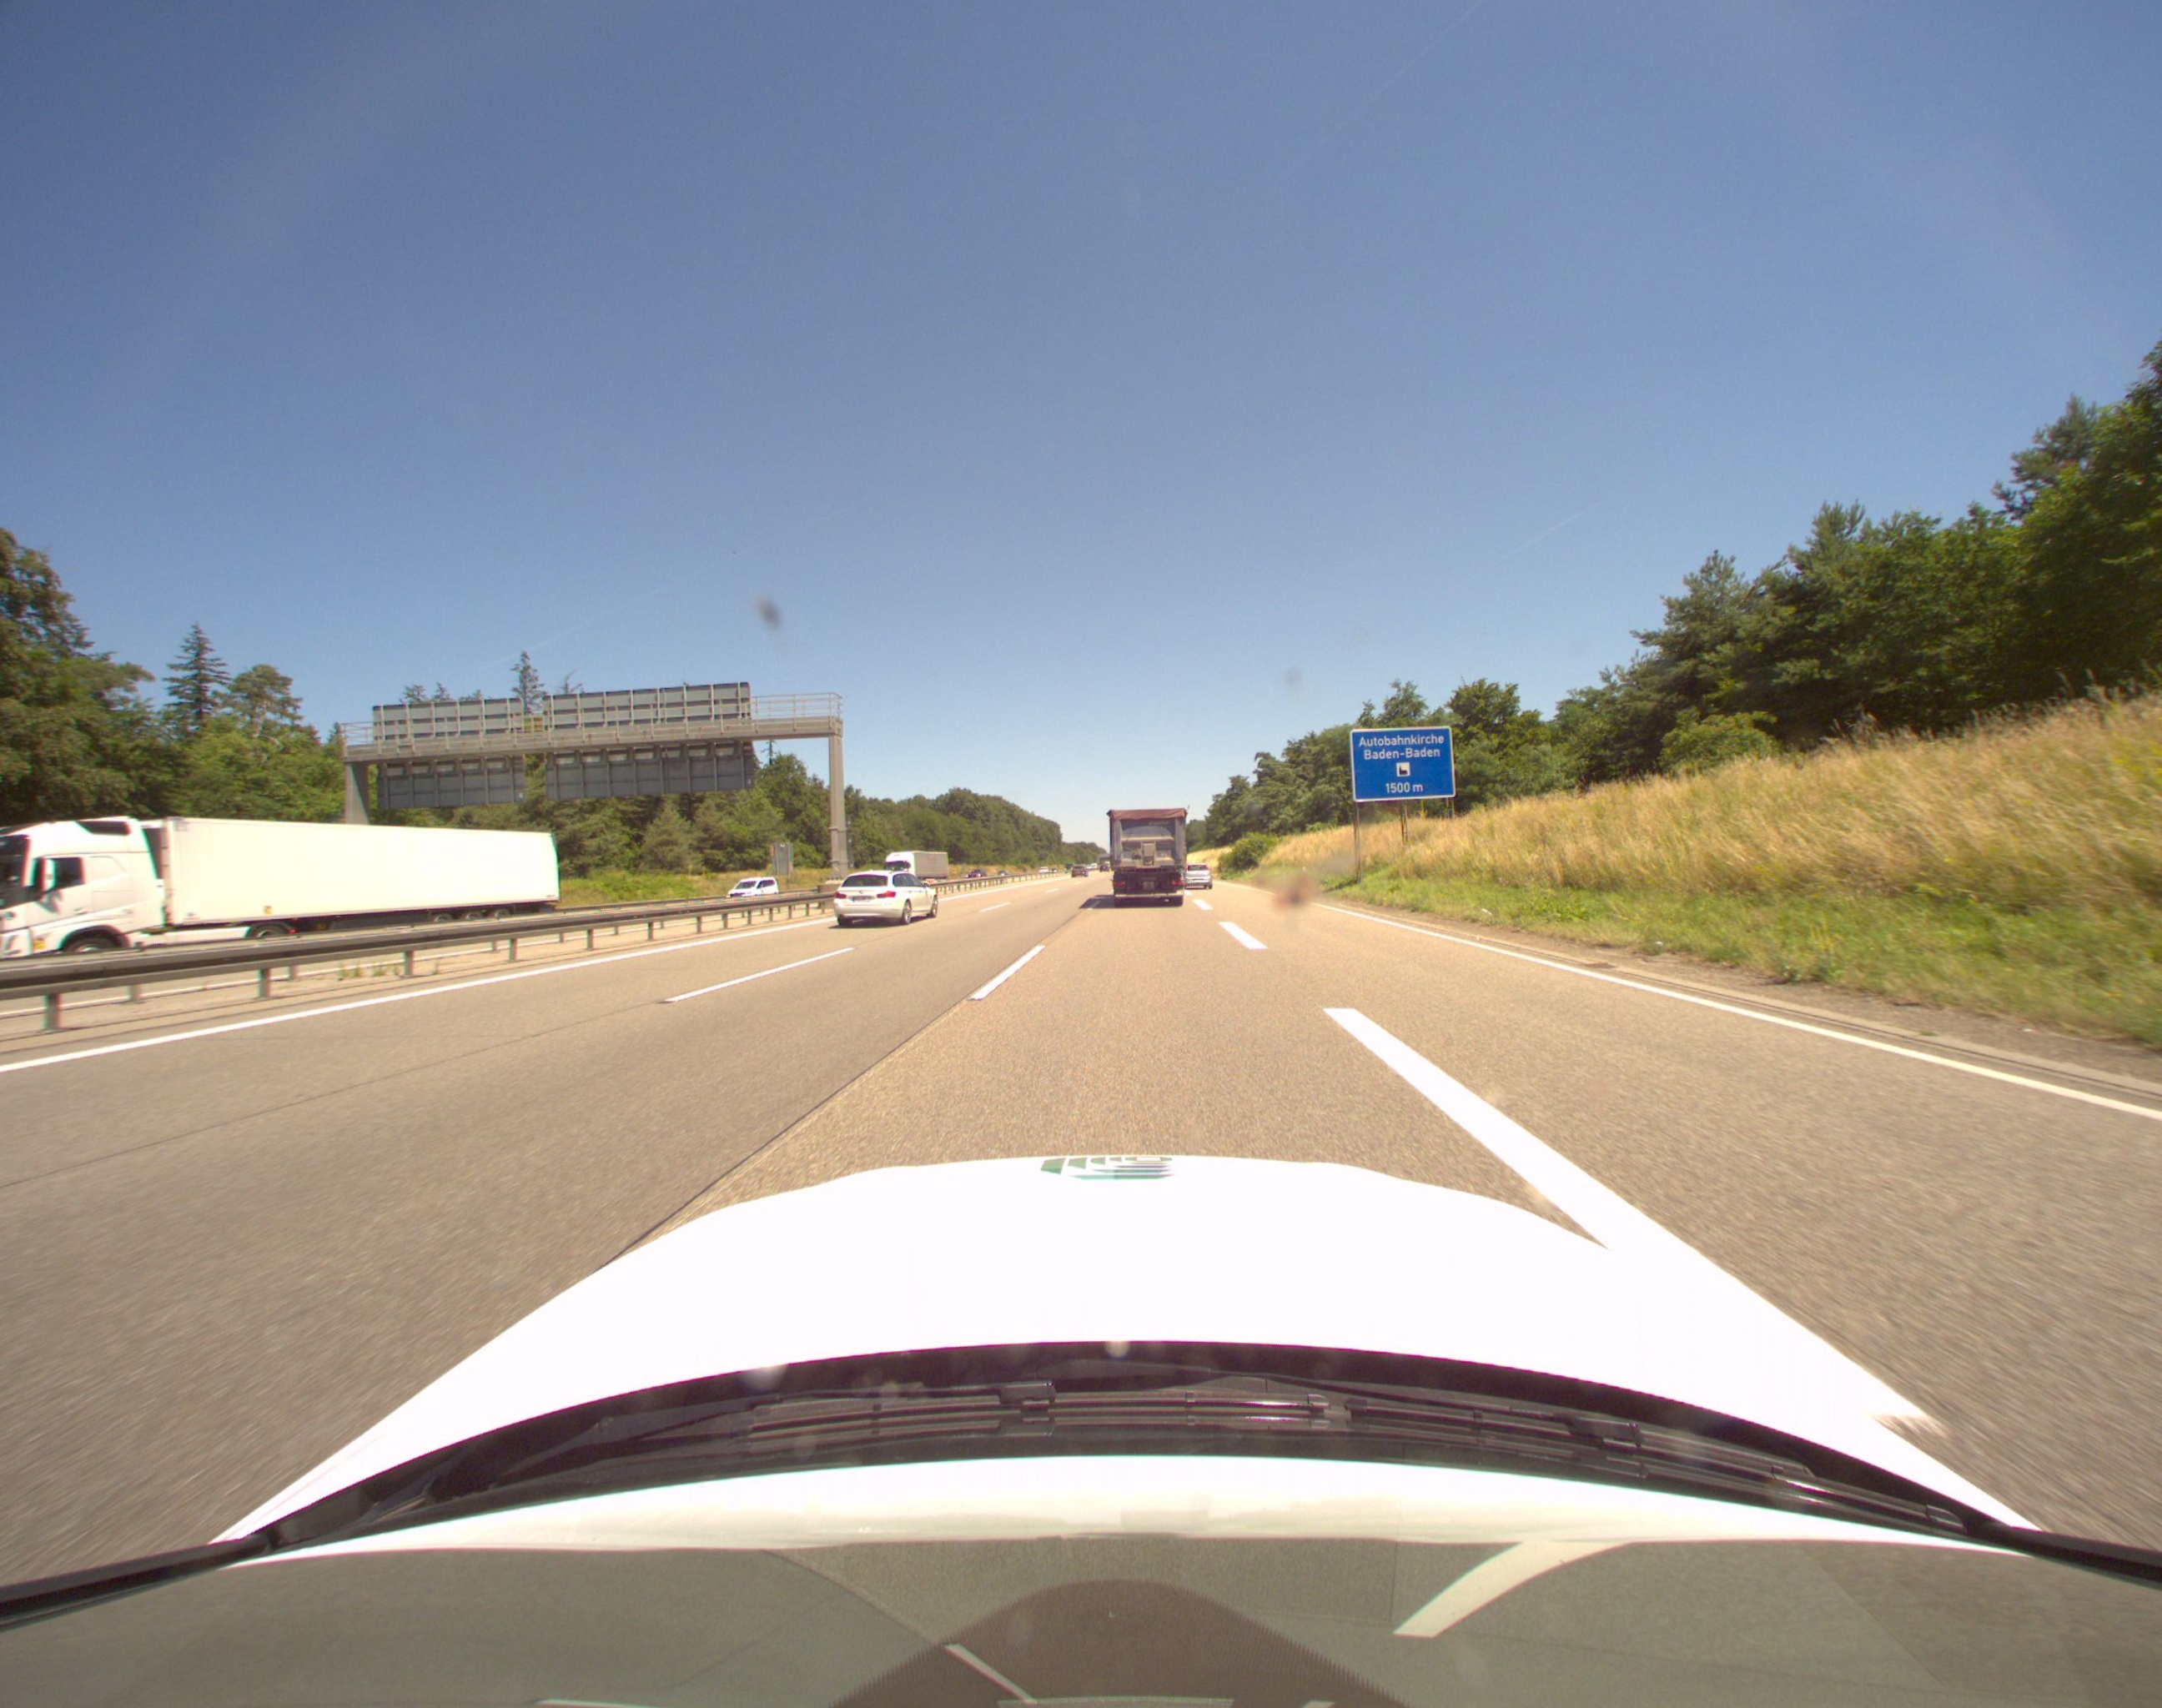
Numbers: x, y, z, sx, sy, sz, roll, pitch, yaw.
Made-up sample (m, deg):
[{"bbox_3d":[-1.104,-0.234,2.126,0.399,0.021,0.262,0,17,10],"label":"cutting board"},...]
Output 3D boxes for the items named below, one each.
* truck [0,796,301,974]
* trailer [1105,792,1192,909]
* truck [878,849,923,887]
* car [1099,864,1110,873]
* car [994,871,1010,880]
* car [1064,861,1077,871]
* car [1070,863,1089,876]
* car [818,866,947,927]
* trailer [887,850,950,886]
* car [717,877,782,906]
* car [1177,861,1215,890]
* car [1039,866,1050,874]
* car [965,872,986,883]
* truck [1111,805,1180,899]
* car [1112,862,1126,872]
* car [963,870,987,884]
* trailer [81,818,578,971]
[{"bbox_3d":[-25.481,0.777,21.621,3.198,4.018,6.226,-2,-1,6],"label":"truck"},{"bbox_3d":[2.515,-0.078,31.275,2.725,3.758,9.117,-2,0,4],"label":"trailer"},{"bbox_3d":[-19.794,1.523,89.637,3.152,3.931,5.409,-1,-1,6],"label":"truck"},{"bbox_3d":[4.502,2.738,155.773,1.867,1.580,3.932,-1,0,4],"label":"car"},{"bbox_3d":[-13.871,3.726,143.572,1.918,1.463,4.949,-3,-1,5],"label":"car"},{"bbox_3d":[-2.333,2.604,178.317,2.269,1.940,4.949,-3,-1,5],"label":"car"},{"bbox_3d":[-0.166,1.904,99.291,1.823,1.431,5.006,-1,-1,5],"label":"car"},{"bbox_3d":[-5.500,1.134,23.378,1.955,1.504,5.411,-1,-1,4],"label":"car"},{"bbox_3d":[-19.015,1.629,96.535,3.152,3.931,13.988,-1,-1,7],"label":"trailer"},{"bbox_3d":[-22.264,2.479,54.854,1.984,1.750,4.996,-2,-1,4],"label":"car"},{"bbox_3d":[6.439,1.190,45.844,1.712,1.491,3.739,-1,0,2],"label":"car"},{"bbox_3d":[-8.923,3.855,199.882,1.984,1.828,4.648,-4,-1,4],"label":"car"},{"bbox_3d":[-15.747,3.476,121.672,2.076,1.463,4.949,-3,-1,5],"label":"car"},{"bbox_3d":[2.811,-0.068,35.984,2.673,3.758,5.949,-2,0,4],"label":"truck"},{"bbox_3d":[5.997,1.978,126.604,1.884,1.469,4.269,-1,-1,6],"label":"car"},{"bbox_3d":[-12.908,2.840,99.544,1.838,1.610,4.927,-1,-1,4],"label":"car"},{"bbox_3d":[-24.673,1.172,29.040,3.198,4.042,14.385,-2,-1,6],"label":"trailer"}]
